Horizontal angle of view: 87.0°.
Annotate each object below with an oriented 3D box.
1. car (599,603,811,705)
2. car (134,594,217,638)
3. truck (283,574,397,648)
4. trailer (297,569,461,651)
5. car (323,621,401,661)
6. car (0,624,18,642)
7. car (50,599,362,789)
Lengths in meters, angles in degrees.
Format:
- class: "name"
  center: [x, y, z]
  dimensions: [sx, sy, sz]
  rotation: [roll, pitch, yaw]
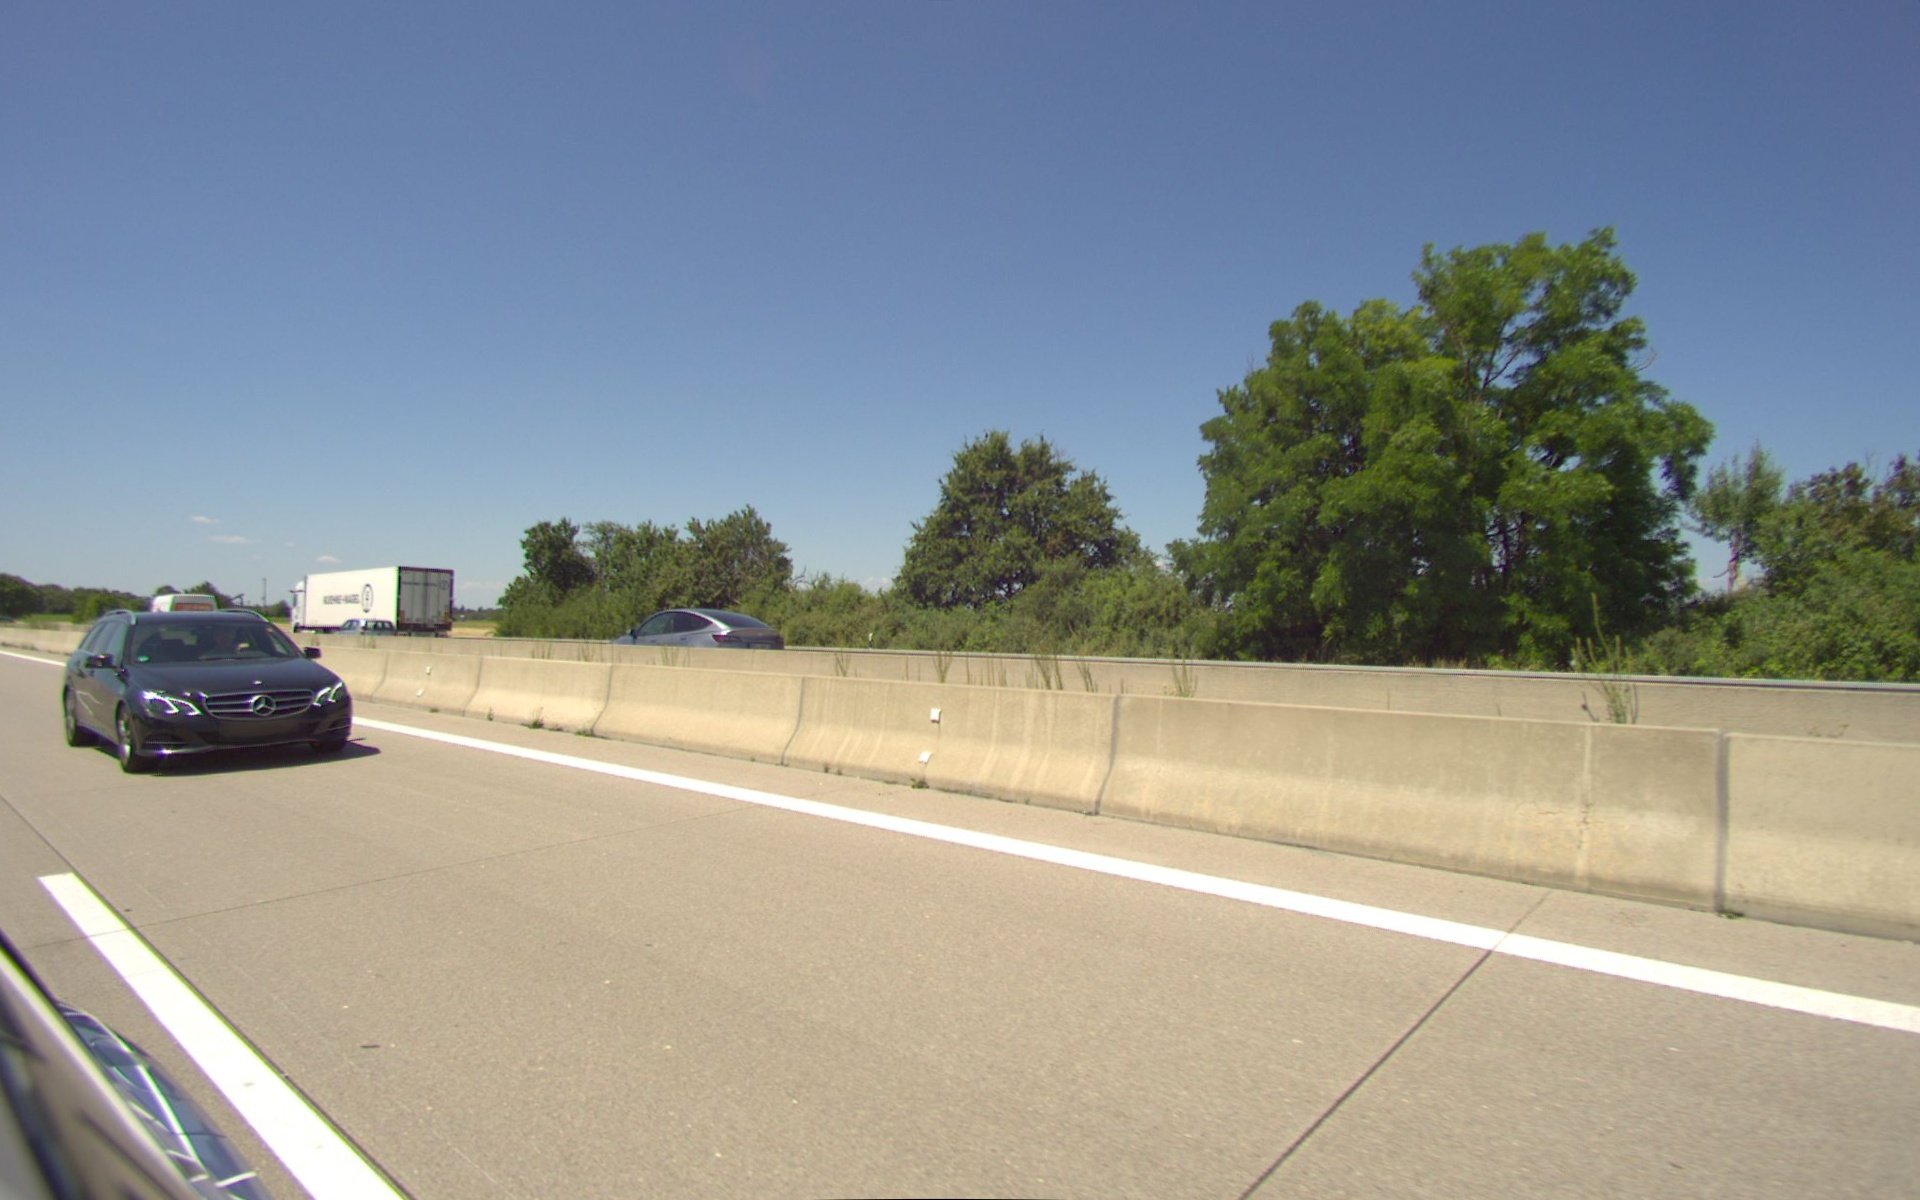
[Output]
- class: "car"
  center: [-5.161, 1.007, 20.192]
  dimensions: [4.394, 1.807, 1.909]
  rotation: [-1, -1, 41]
- class: "car"
  center: [-37.986, 0.769, 48.929]
  dimensions: [5.977, 2.029, 2.047]
  rotation: [-1, -1, 41]
- class: "truck"
  center: [-35.147, 0.639, 57.239]
  dimensions: [8.367, 3.938, 3.128]
  rotation: [-1, -1, 41]
- class: "trailer"
  center: [-31.128, 0.584, 53.751]
  dimensions: [14.022, 3.867, 3.128]
  rotation: [-1, -1, 41]
- class: "car"
  center: [-25.793, 1.737, 43.616]
  dimensions: [3.999, 1.674, 1.800]
  rotation: [-1, -2, 42]
- class: "car"
  center: [-104.396, 3.604, 110.439]
  dimensions: [4.690, 1.896, 1.973]
  rotation: [-1, -1, 42]
- class: "car"
  center: [-7.954, 0.828, 10.551]
  dimensions: [3.938, 1.597, 1.824]
  rotation: [-1, -1, 41]
